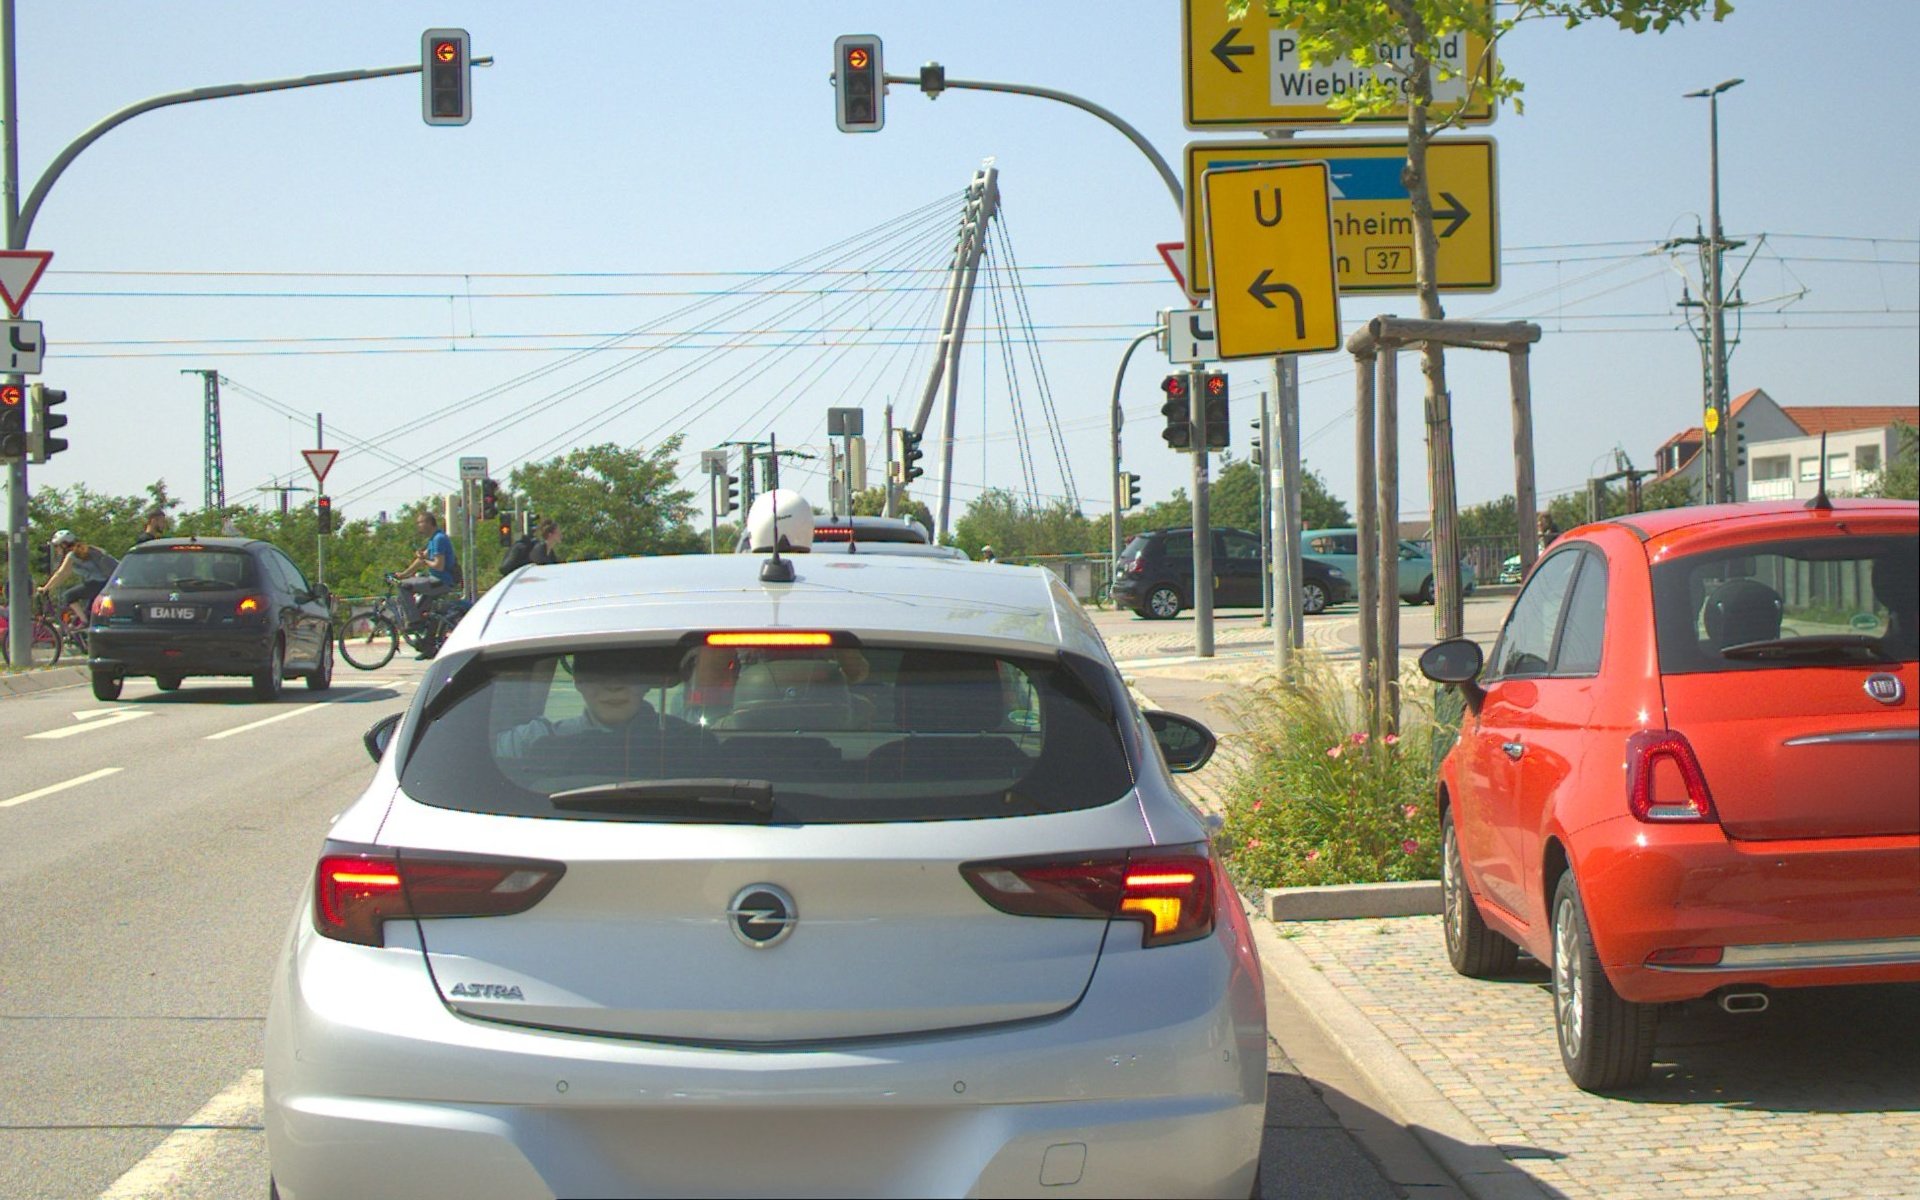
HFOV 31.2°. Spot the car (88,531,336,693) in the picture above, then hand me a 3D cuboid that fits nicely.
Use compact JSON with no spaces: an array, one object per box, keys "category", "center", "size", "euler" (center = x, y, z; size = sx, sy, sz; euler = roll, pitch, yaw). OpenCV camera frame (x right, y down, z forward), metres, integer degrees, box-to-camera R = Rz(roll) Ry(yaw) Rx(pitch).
[{"category":"car","center":[-6.746,0.098,31.302],"size":[1.587,1.390,3.340],"euler":[0,0,-1]}]

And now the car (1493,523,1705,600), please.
[{"category":"car","center":[14.420,-0.866,77.616],"size":[4.244,1.668,2.001],"euler":[0,0,-17]}]

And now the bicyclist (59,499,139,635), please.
[{"category":"bicyclist","center":[-9.667,-0.370,38.634],"size":[0.657,1.497,0.844],"euler":[1,0,1]}]

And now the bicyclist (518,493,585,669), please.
[{"category":"bicyclist","center":[-4.405,-0.205,37.070],"size":[0.594,1.881,0.636],"euler":[1,0,2]}]

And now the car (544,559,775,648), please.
[{"category":"car","center":[-5.481,0.057,62.973],"size":[3.975,1.546,1.675],"euler":[-1,0,3]}]

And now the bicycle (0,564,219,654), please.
[{"category":"bicycle","center":[-9.650,0.093,38.636],"size":[2.504,1.004,0.605],"euler":[0,0,0]}]

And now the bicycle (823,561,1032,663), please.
[{"category":"bicycle","center":[-0.384,0.136,39.709],"size":[2.357,1.123,0.677],"euler":[1,0,-3]}]

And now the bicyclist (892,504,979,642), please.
[{"category":"bicyclist","center":[-0.291,-0.311,39.673],"size":[0.945,1.563,0.823],"euler":[1,0,-3]}]

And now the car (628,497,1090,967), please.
[{"category":"car","center":[-0.405,0.472,14.329],"size":[1.634,1.668,3.745],"euler":[1,0,-1]}]

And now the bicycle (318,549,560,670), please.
[{"category":"bicycle","center":[-5.879,0.102,38.877],"size":[2.524,1.130,0.728],"euler":[-4,3,3]}]

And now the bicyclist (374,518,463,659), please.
[{"category":"bicyclist","center":[-6.119,-0.131,38.885],"size":[0.822,1.554,0.863],"euler":[1,0,3]}]

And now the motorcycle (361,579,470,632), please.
[{"category":"motorcycle","center":[-13.252,0.129,83.637],"size":[2.536,1.229,0.648],"euler":[1,0,-1]}]

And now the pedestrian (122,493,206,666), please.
[{"category":"pedestrian","center":[-8.668,-0.220,37.446],"size":[0.740,1.857,0.754],"euler":[1,0,-3]}]

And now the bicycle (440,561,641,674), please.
[{"category":"bicycle","center":[-4.519,0.182,37.084],"size":[2.081,1.174,0.555],"euler":[1,0,2]}]

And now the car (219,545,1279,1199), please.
[{"category":"car","center":[-0.381,0.642,7.641],"size":[1.690,1.514,4.271],"euler":[0,1,-1]}]

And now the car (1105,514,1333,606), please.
[{"category":"car","center":[4.534,-0.699,60.439],"size":[3.747,1.578,1.814],"euler":[0,0,-5]}]

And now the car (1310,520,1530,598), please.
[{"category":"car","center":[8.549,-0.769,63.975],"size":[3.789,1.357,1.533],"euler":[-1,1,-6]}]

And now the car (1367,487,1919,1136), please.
[{"category":"car","center":[2.357,0.454,10.358],"size":[1.669,1.534,3.917],"euler":[-2,2,-1]}]

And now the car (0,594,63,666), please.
[{"category":"car","center":[-22.977,0.677,80.927],"size":[3.385,1.650,1.645],"euler":[1,0,29]}]

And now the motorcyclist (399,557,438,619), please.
[{"category":"motorcyclist","center":[-13.174,-0.295,83.674],"size":[0.809,1.471,0.885],"euler":[1,0,-1]}]
